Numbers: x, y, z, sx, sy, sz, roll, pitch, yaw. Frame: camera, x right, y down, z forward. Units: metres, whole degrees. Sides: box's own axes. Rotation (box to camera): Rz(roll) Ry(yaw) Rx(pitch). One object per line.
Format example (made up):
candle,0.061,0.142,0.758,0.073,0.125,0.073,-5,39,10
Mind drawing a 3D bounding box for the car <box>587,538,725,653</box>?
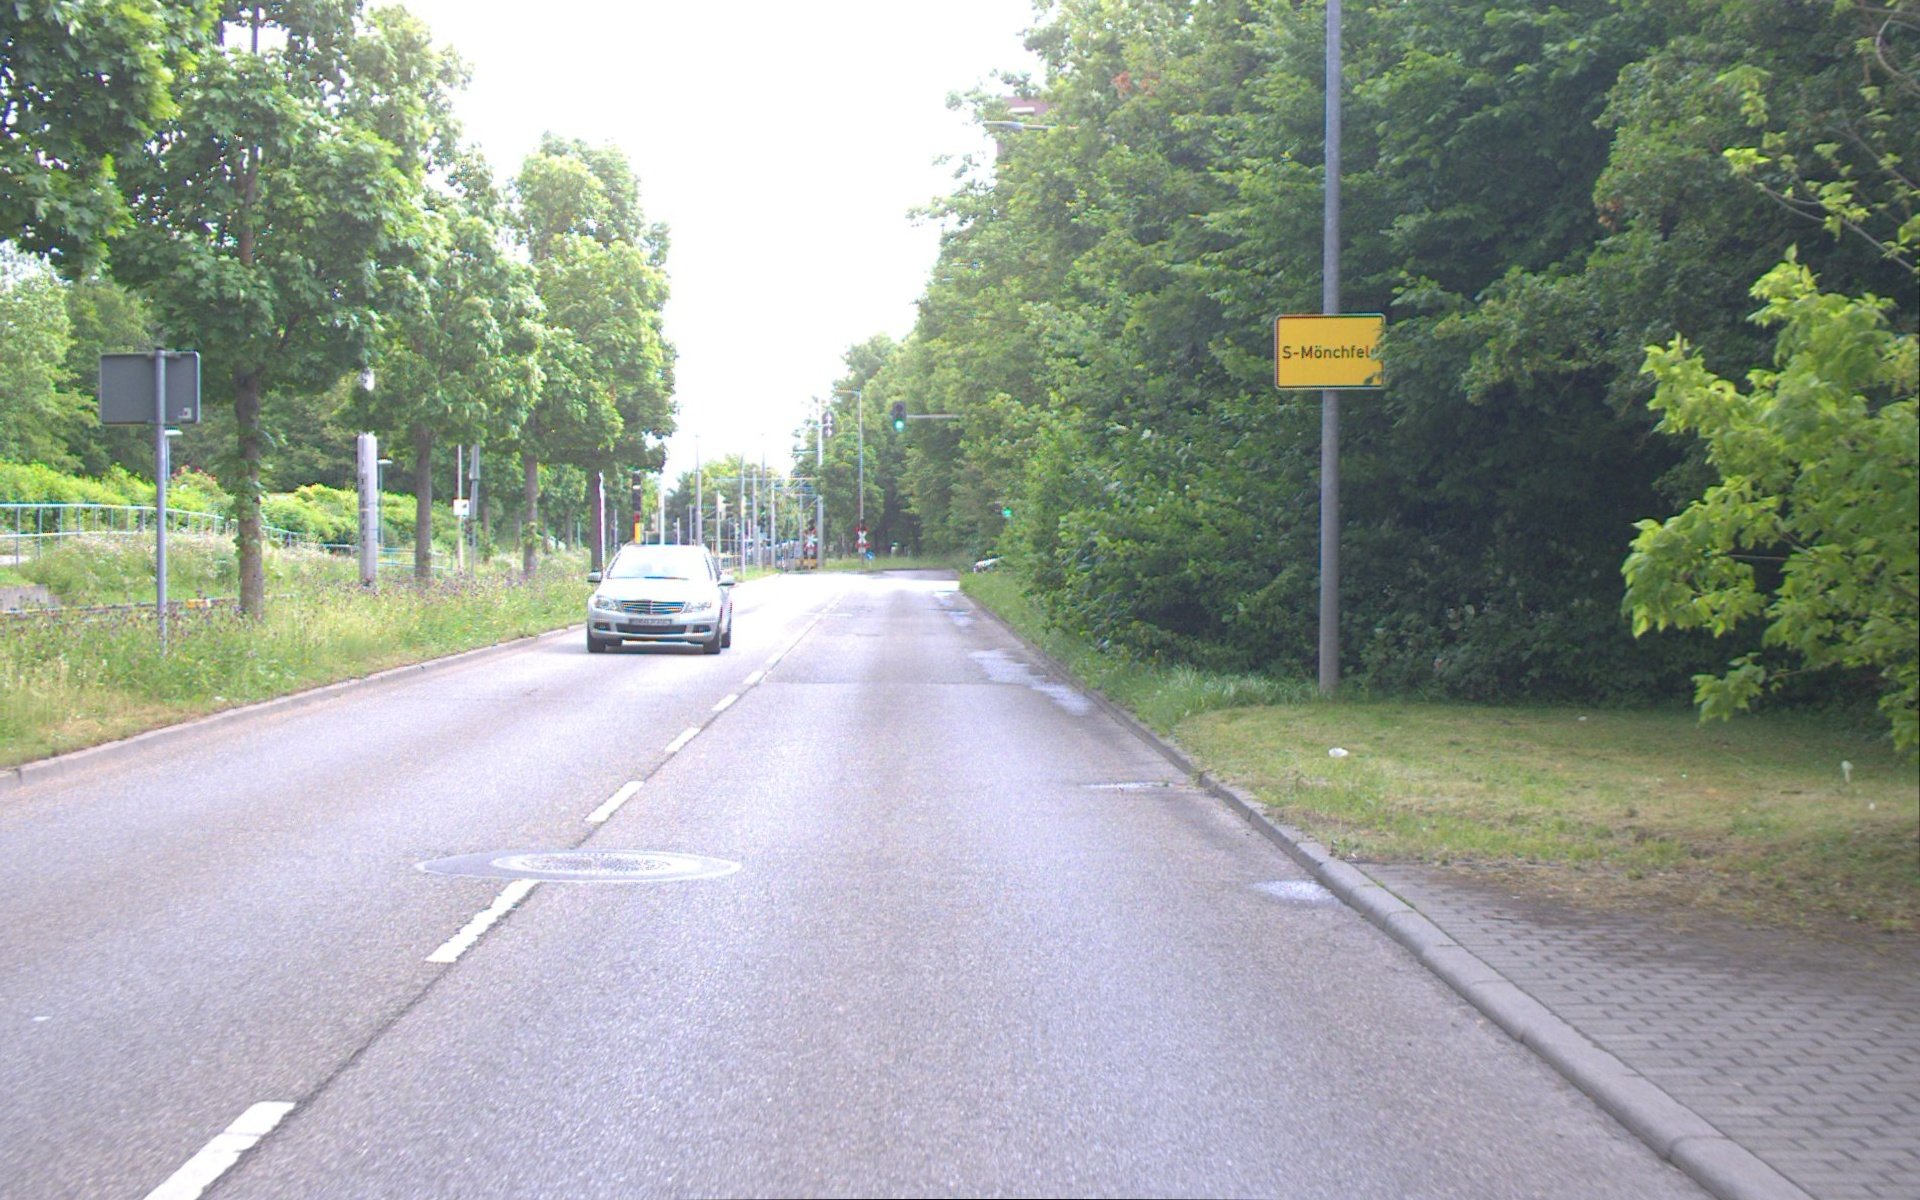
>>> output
car,-4.119,-0.097,46.976,1.774,1.464,4.242,1,1,-4
